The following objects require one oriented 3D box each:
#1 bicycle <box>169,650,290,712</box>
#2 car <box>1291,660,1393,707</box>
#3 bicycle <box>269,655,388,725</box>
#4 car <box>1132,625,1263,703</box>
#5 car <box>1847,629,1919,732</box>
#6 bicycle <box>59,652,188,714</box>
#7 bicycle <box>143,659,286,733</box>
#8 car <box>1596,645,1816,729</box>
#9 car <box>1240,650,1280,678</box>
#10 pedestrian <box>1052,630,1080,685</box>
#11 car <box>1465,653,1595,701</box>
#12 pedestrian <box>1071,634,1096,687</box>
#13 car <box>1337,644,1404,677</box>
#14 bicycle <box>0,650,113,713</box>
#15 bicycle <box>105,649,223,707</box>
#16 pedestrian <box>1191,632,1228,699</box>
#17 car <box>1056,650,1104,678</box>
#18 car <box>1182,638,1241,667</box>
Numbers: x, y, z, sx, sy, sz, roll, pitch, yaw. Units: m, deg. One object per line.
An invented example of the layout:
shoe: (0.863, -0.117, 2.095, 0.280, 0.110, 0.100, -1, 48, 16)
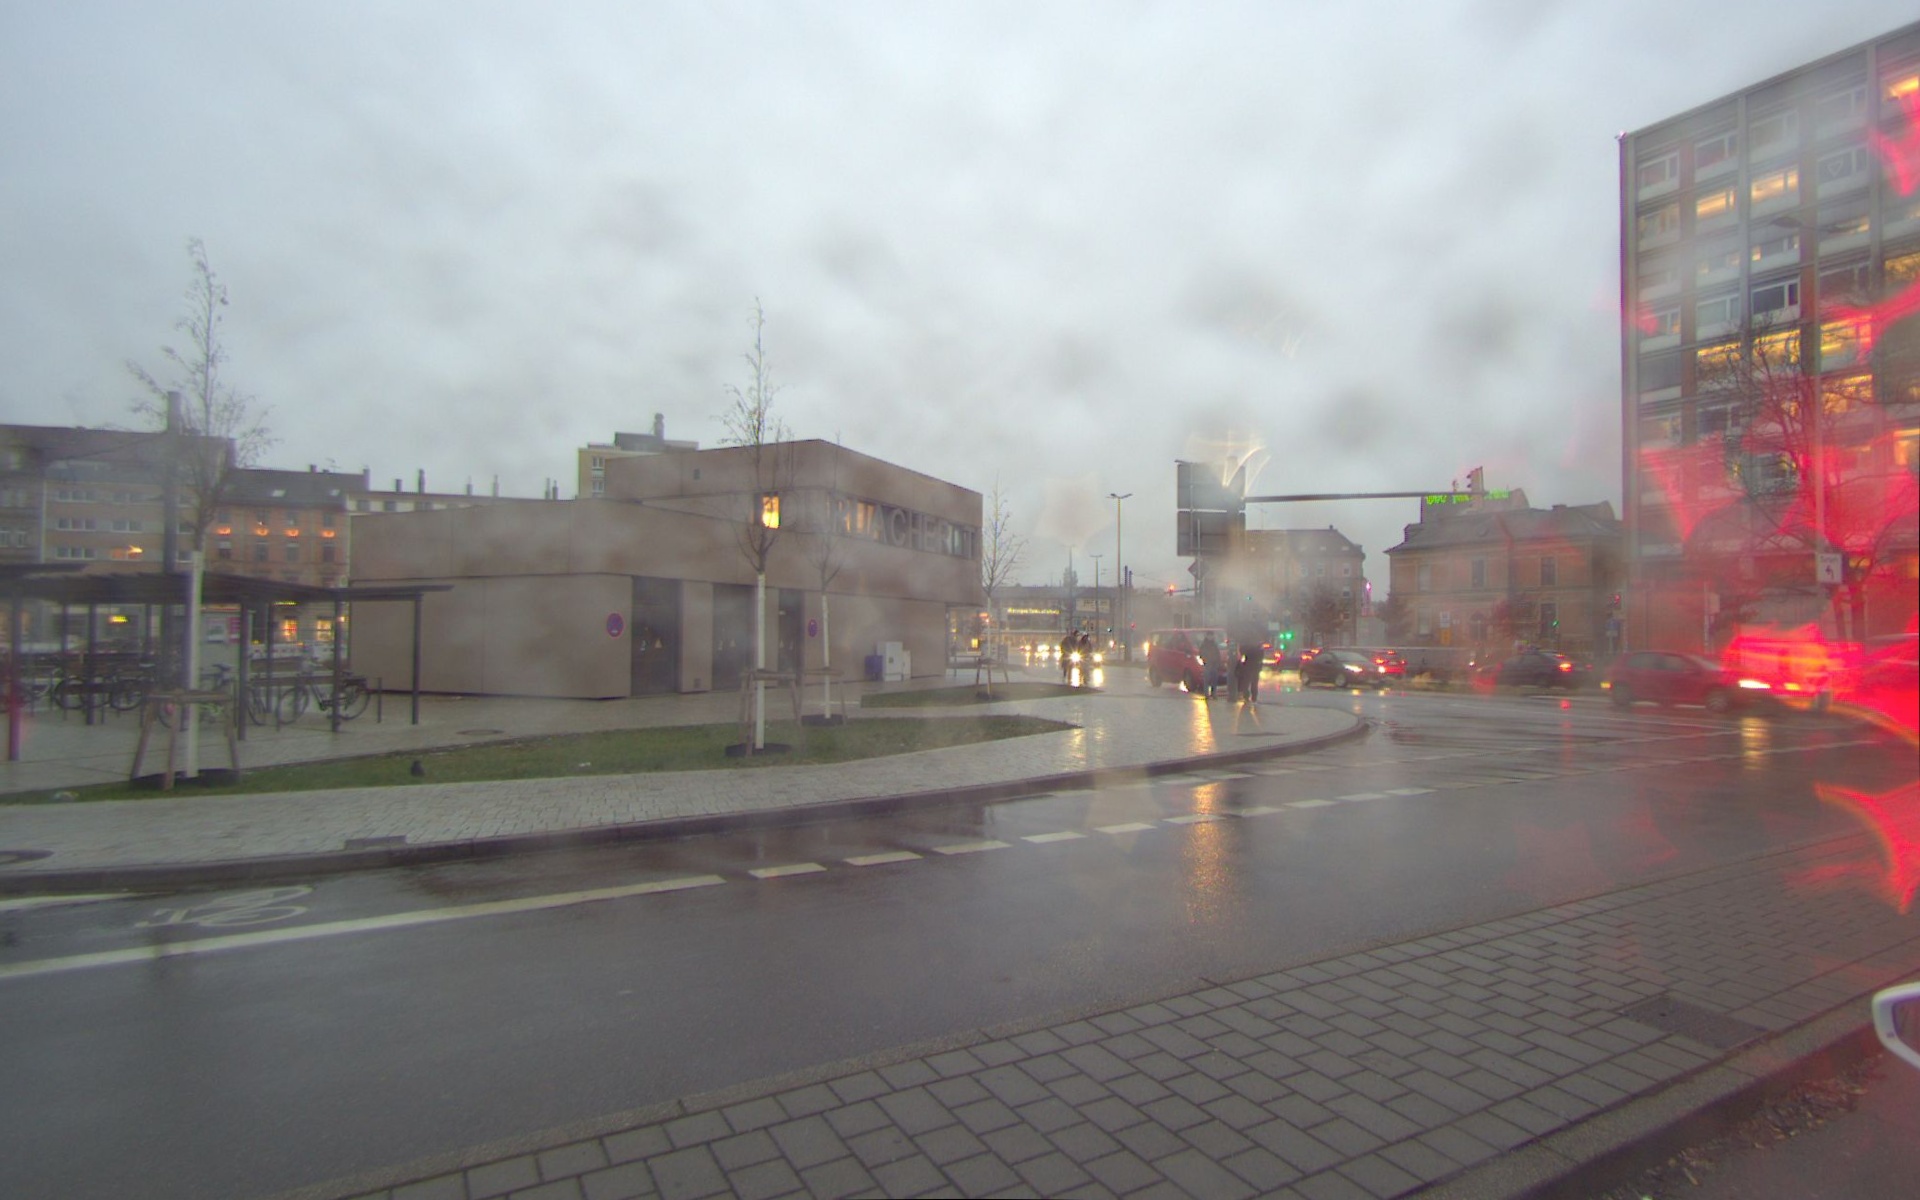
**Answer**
bicycle: (-14.859, 1.632, 20.495, 0.541, 1.180, 1.895, 2, -2, 30)
car: (14.419, 3.123, 38.135, 1.578, 1.468, 3.827, 3, -1, -16)
bicycle: (-11.697, 1.642, 18.669, 0.539, 1.180, 1.899, 2, -1, 19)
car: (7.813, 2.062, 33.659, 2.220, 2.311, 5.025, 3, -1, -13)
car: (17.144, 1.387, 16.101, 1.732, 1.706, 4.063, 3, -1, -18)
bicycle: (-16.868, 1.647, 20.309, 0.541, 1.180, 1.895, 2, -2, 30)
bicycle: (-12.889, 1.630, 17.436, 0.541, 1.180, 1.895, 2, -2, 30)
car: (18.024, 2.051, 24.504, 1.731, 1.706, 4.069, 3, -1, -16)
car: (19.254, 4.092, 64.630, 1.536, 1.626, 3.413, 3, -1, 0)
pedestrian: (3.643, 1.968, 34.458, 0.670, 1.839, 0.692, 3, -1, -16)
car: (22.741, 3.055, 40.299, 1.936, 1.601, 4.433, 3, -1, -16)
pedestrian: (4.242, 2.074, 34.565, 0.576, 1.795, 0.610, 3, -1, -16)
car: (20.683, 3.029, 50.749, 1.535, 1.416, 3.800, 3, -1, -4)
bicycle: (-18.338, 1.613, 20.176, 0.541, 1.180, 1.895, 2, -2, 30)
bicycle: (-17.322, 1.673, 21.907, 0.541, 1.180, 1.895, 2, -2, 30)
pedestrian: (6.605, 1.740, 26.643, 0.781, 1.719, 0.461, 3, -1, -7)
car: (7.326, 3.874, 61.420, 1.578, 1.468, 3.637, 3, -1, -16)
car: (18.456, 3.849, 73.976, 1.966, 1.938, 5.157, 1, -1, -14)
